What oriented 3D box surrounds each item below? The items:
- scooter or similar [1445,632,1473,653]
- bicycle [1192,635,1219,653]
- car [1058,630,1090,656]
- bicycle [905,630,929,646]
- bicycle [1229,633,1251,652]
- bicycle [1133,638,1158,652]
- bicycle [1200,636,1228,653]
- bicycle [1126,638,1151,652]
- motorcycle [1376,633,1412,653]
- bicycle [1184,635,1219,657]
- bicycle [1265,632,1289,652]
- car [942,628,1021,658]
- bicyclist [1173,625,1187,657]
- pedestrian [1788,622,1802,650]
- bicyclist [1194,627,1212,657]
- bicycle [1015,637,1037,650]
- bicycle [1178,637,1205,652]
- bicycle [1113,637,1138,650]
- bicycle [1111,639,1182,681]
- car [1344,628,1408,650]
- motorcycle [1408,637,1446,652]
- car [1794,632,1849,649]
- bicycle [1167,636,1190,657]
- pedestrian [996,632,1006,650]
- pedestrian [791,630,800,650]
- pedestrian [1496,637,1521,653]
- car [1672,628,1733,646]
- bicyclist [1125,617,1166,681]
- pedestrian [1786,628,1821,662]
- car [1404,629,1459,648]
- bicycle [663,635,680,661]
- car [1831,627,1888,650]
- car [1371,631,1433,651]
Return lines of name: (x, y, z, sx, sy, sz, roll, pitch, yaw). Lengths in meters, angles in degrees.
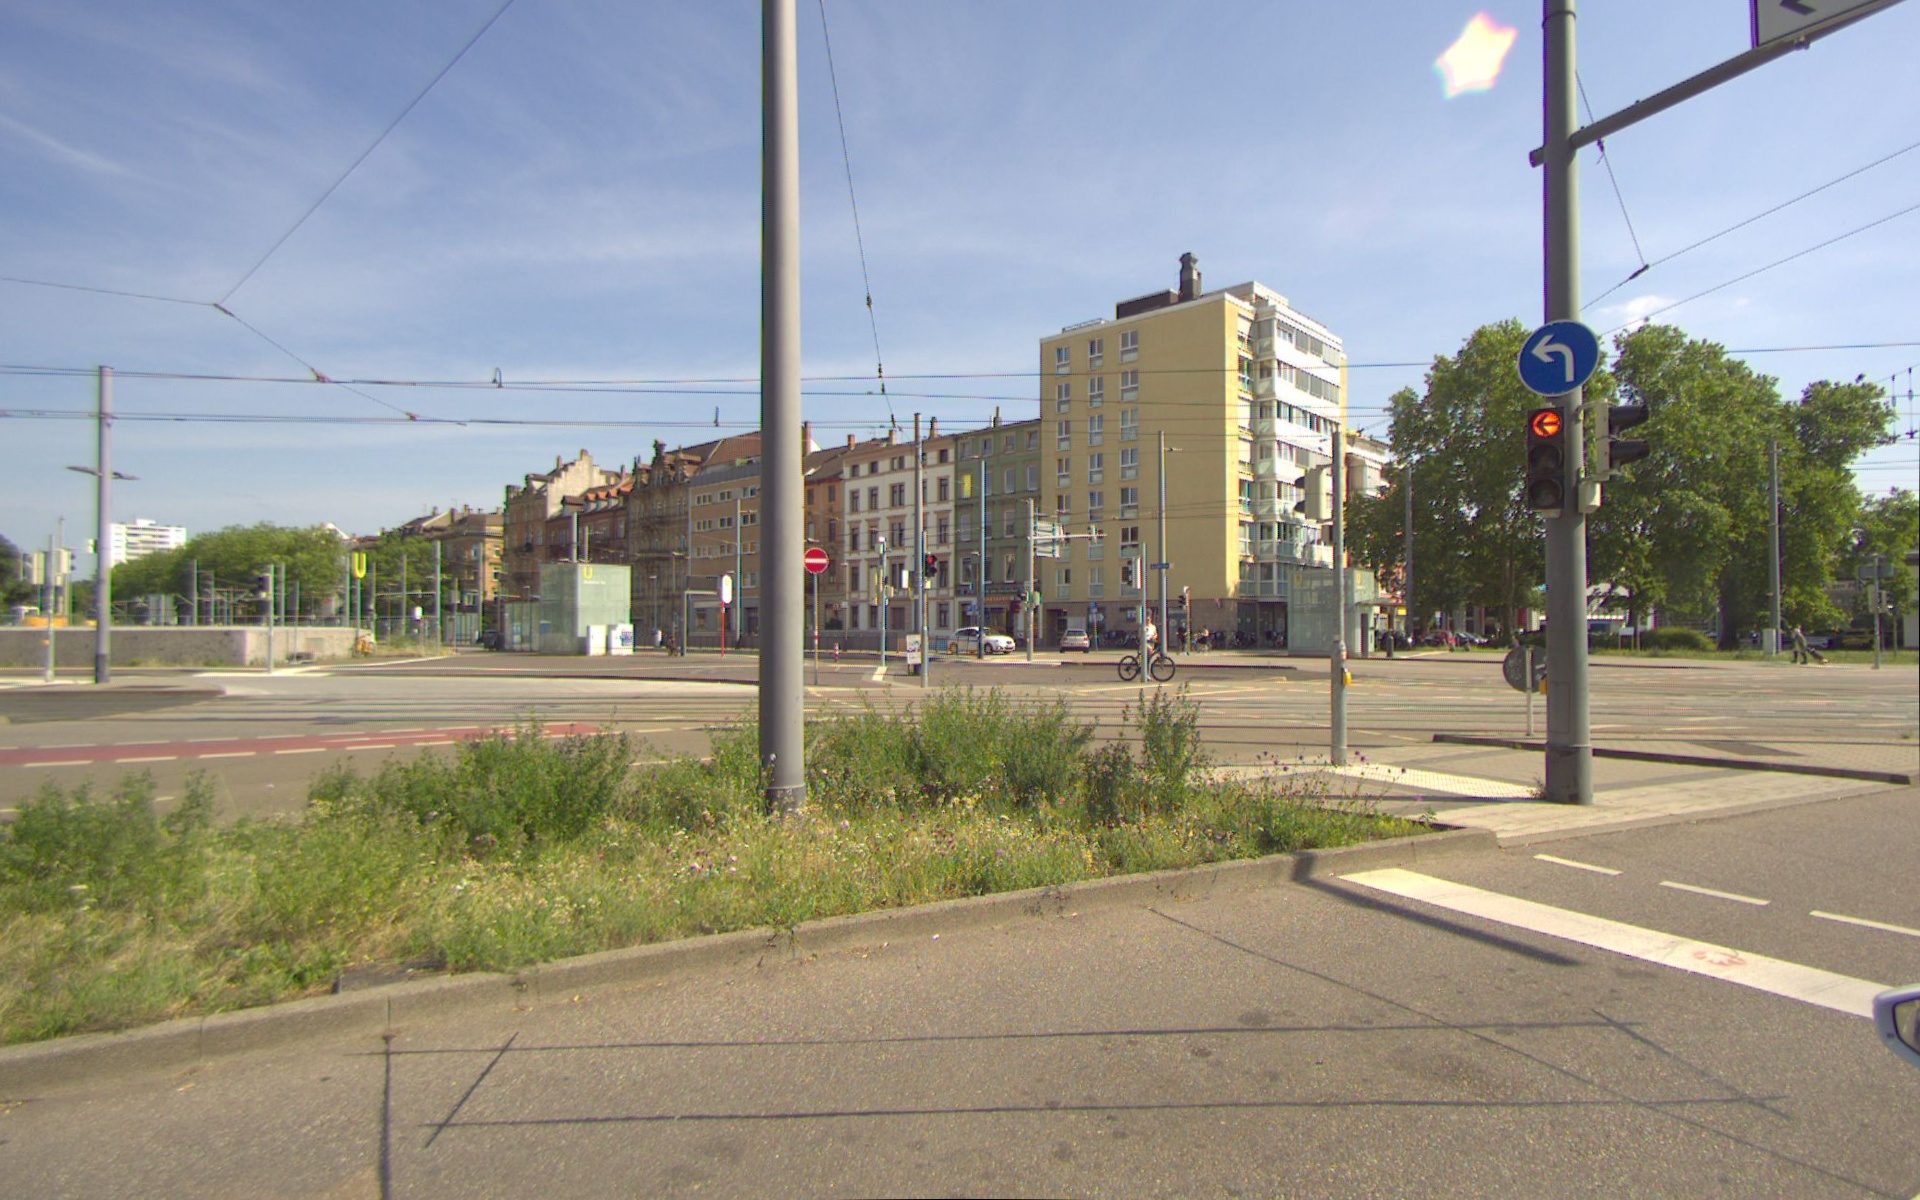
scooter or similar: (27.087, 2.312, 54.530, 0.509, 1.134, 1.358, 0, -1, -19)
bicycle: (15.866, 2.855, 64.983, 0.578, 1.100, 1.740, -3, 0, -34)
car: (7.005, 2.661, 62.076, 1.777, 1.458, 4.004, 1, -4, 4)
bicycle: (-3.041, 2.678, 71.245, 0.589, 1.109, 1.738, 0, -2, 43)
bicycle: (18.351, 2.795, 65.767, 0.534, 1.201, 1.878, -1, -2, 45)
bicycle: (12.734, 3.065, 68.944, 0.579, 0.928, 1.737, 0, -2, -39)
bicycle: (16.493, 2.863, 65.208, 0.579, 1.056, 1.737, 0, -2, -40)
bicycle: (12.225, 3.048, 68.711, 0.579, 0.928, 1.737, 0, -2, -39)
motorcycle: (24.783, 2.453, 57.384, 0.631, 1.076, 2.028, 1, -2, -22)
bicycle: (13.006, 2.458, 54.049, 1.775, 1.145, 0.749, 1, -2, -30)
bicycle: (20.456, 2.720, 64.859, 1.740, 1.235, 0.578, 0, -1, -37)
car: (1.121, 2.275, 53.671, 4.067, 1.417, 1.749, -1, 1, 43)
bicyclist: (12.106, 2.258, 55.278, 0.575, 1.757, 0.615, -2, -3, 37)
pedestrian: (50.089, 2.160, 60.246, 0.455, 1.617, 0.393, 2, 0, -6)
bicyclist: (13.095, 2.259, 54.069, 0.605, 1.593, 0.728, 1, -3, -29)
bicycle: (4.987, 3.294, 76.307, 1.755, 0.977, 0.412, -2, 0, 43)
bicycle: (15.301, 2.941, 66.350, 0.579, 0.978, 1.736, 0, -2, -41)
bicycle: (11.532, 3.034, 70.041, 1.733, 0.928, 0.580, -2, -2, 44)
bicycle: (5.042, 1.642, 27.273, 0.745, 1.098, 1.828, 2, -4, -40)
car: (30.509, 2.831, 73.676, 3.945, 1.459, 1.879, 1, 0, 44)
motorcycle: (28.317, 2.696, 60.956, 1.997, 0.853, 0.641, 0, -1, 4)
car: (70.168, 3.274, 81.827, 3.946, 1.261, 1.988, 2, 0, -25)
bicycle: (12.084, 2.571, 55.445, 0.575, 1.145, 1.790, -2, -3, 37)
pedestrian: (3.194, 3.177, 78.293, 0.637, 1.392, 0.524, -1, -2, 43)
pedestrian: (-13.692, 3.314, 83.701, 0.518, 1.687, 0.551, -2, -2, 43)
pedestrian: (32.293, 2.647, 59.112, 1.159, 0.904, 0.818, -1, -2, 41)
car: (66.622, 3.302, 90.196, 1.976, 1.390, 3.968, 2, 0, -30)
bicyclist: (5.044, 1.327, 27.266, 0.745, 1.706, 0.768, 2, -4, -40)
pedestrian: (36.907, 1.974, 43.950, 1.100, 1.422, 0.654, 2, 0, 39)
car: (38.895, 3.174, 82.885, 3.684, 1.358, 1.733, 1, 0, 44)
bicycle: (-13.178, 2.177, 45.901, 0.408, 1.085, 1.651, 0, 0, -28)
car: (71.643, 3.087, 79.968, 3.946, 1.706, 1.987, 2, 0, -25)
car: (33.758, 3.117, 76.781, 3.945, 1.287, 1.733, 1, 0, 44)
